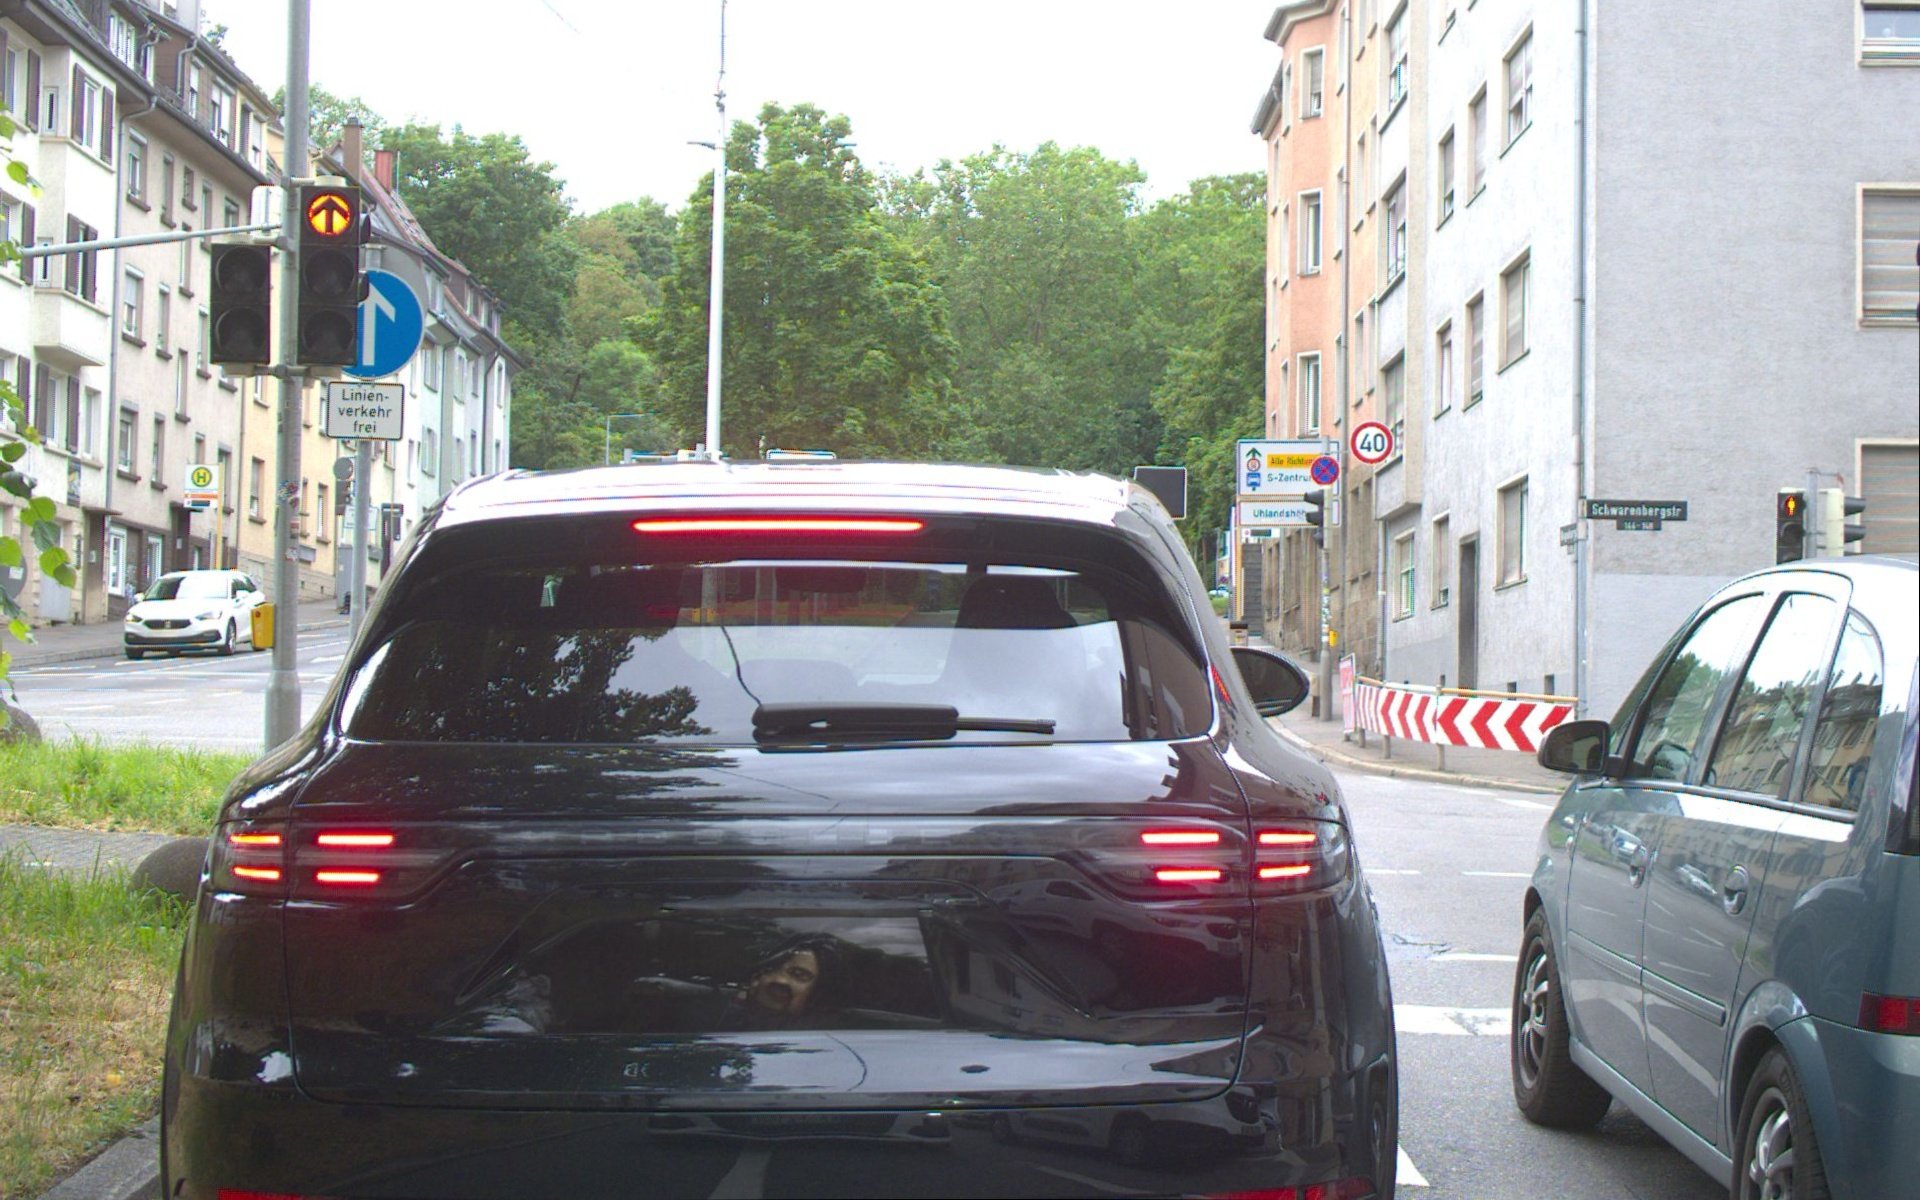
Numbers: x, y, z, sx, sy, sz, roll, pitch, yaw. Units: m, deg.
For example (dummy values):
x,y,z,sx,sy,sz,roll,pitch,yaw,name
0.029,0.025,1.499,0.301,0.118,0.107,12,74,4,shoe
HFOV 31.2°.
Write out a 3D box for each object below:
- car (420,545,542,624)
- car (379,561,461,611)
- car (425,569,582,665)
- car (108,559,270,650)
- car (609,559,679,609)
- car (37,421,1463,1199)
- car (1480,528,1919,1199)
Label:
x,y,z,sx,sy,sz,roll,pitch,yaw,name
-10.219,-0.339,73.622,1.974,1.605,4.558,1,1,0,car
-15.505,-0.404,98.805,1.739,1.382,3.814,1,1,0,car
-6.950,0.238,52.684,1.862,1.383,4.094,1,1,0,car
-13.104,0.057,58.645,1.844,1.481,3.898,1,1,0,car
-9.857,-0.480,107.421,1.619,1.475,3.823,1,-1,3,car
-0.311,0.571,6.723,1.955,1.669,4.000,0,1,-1,car
2.354,0.703,7.878,1.628,1.592,3.669,4,1,-1,car
